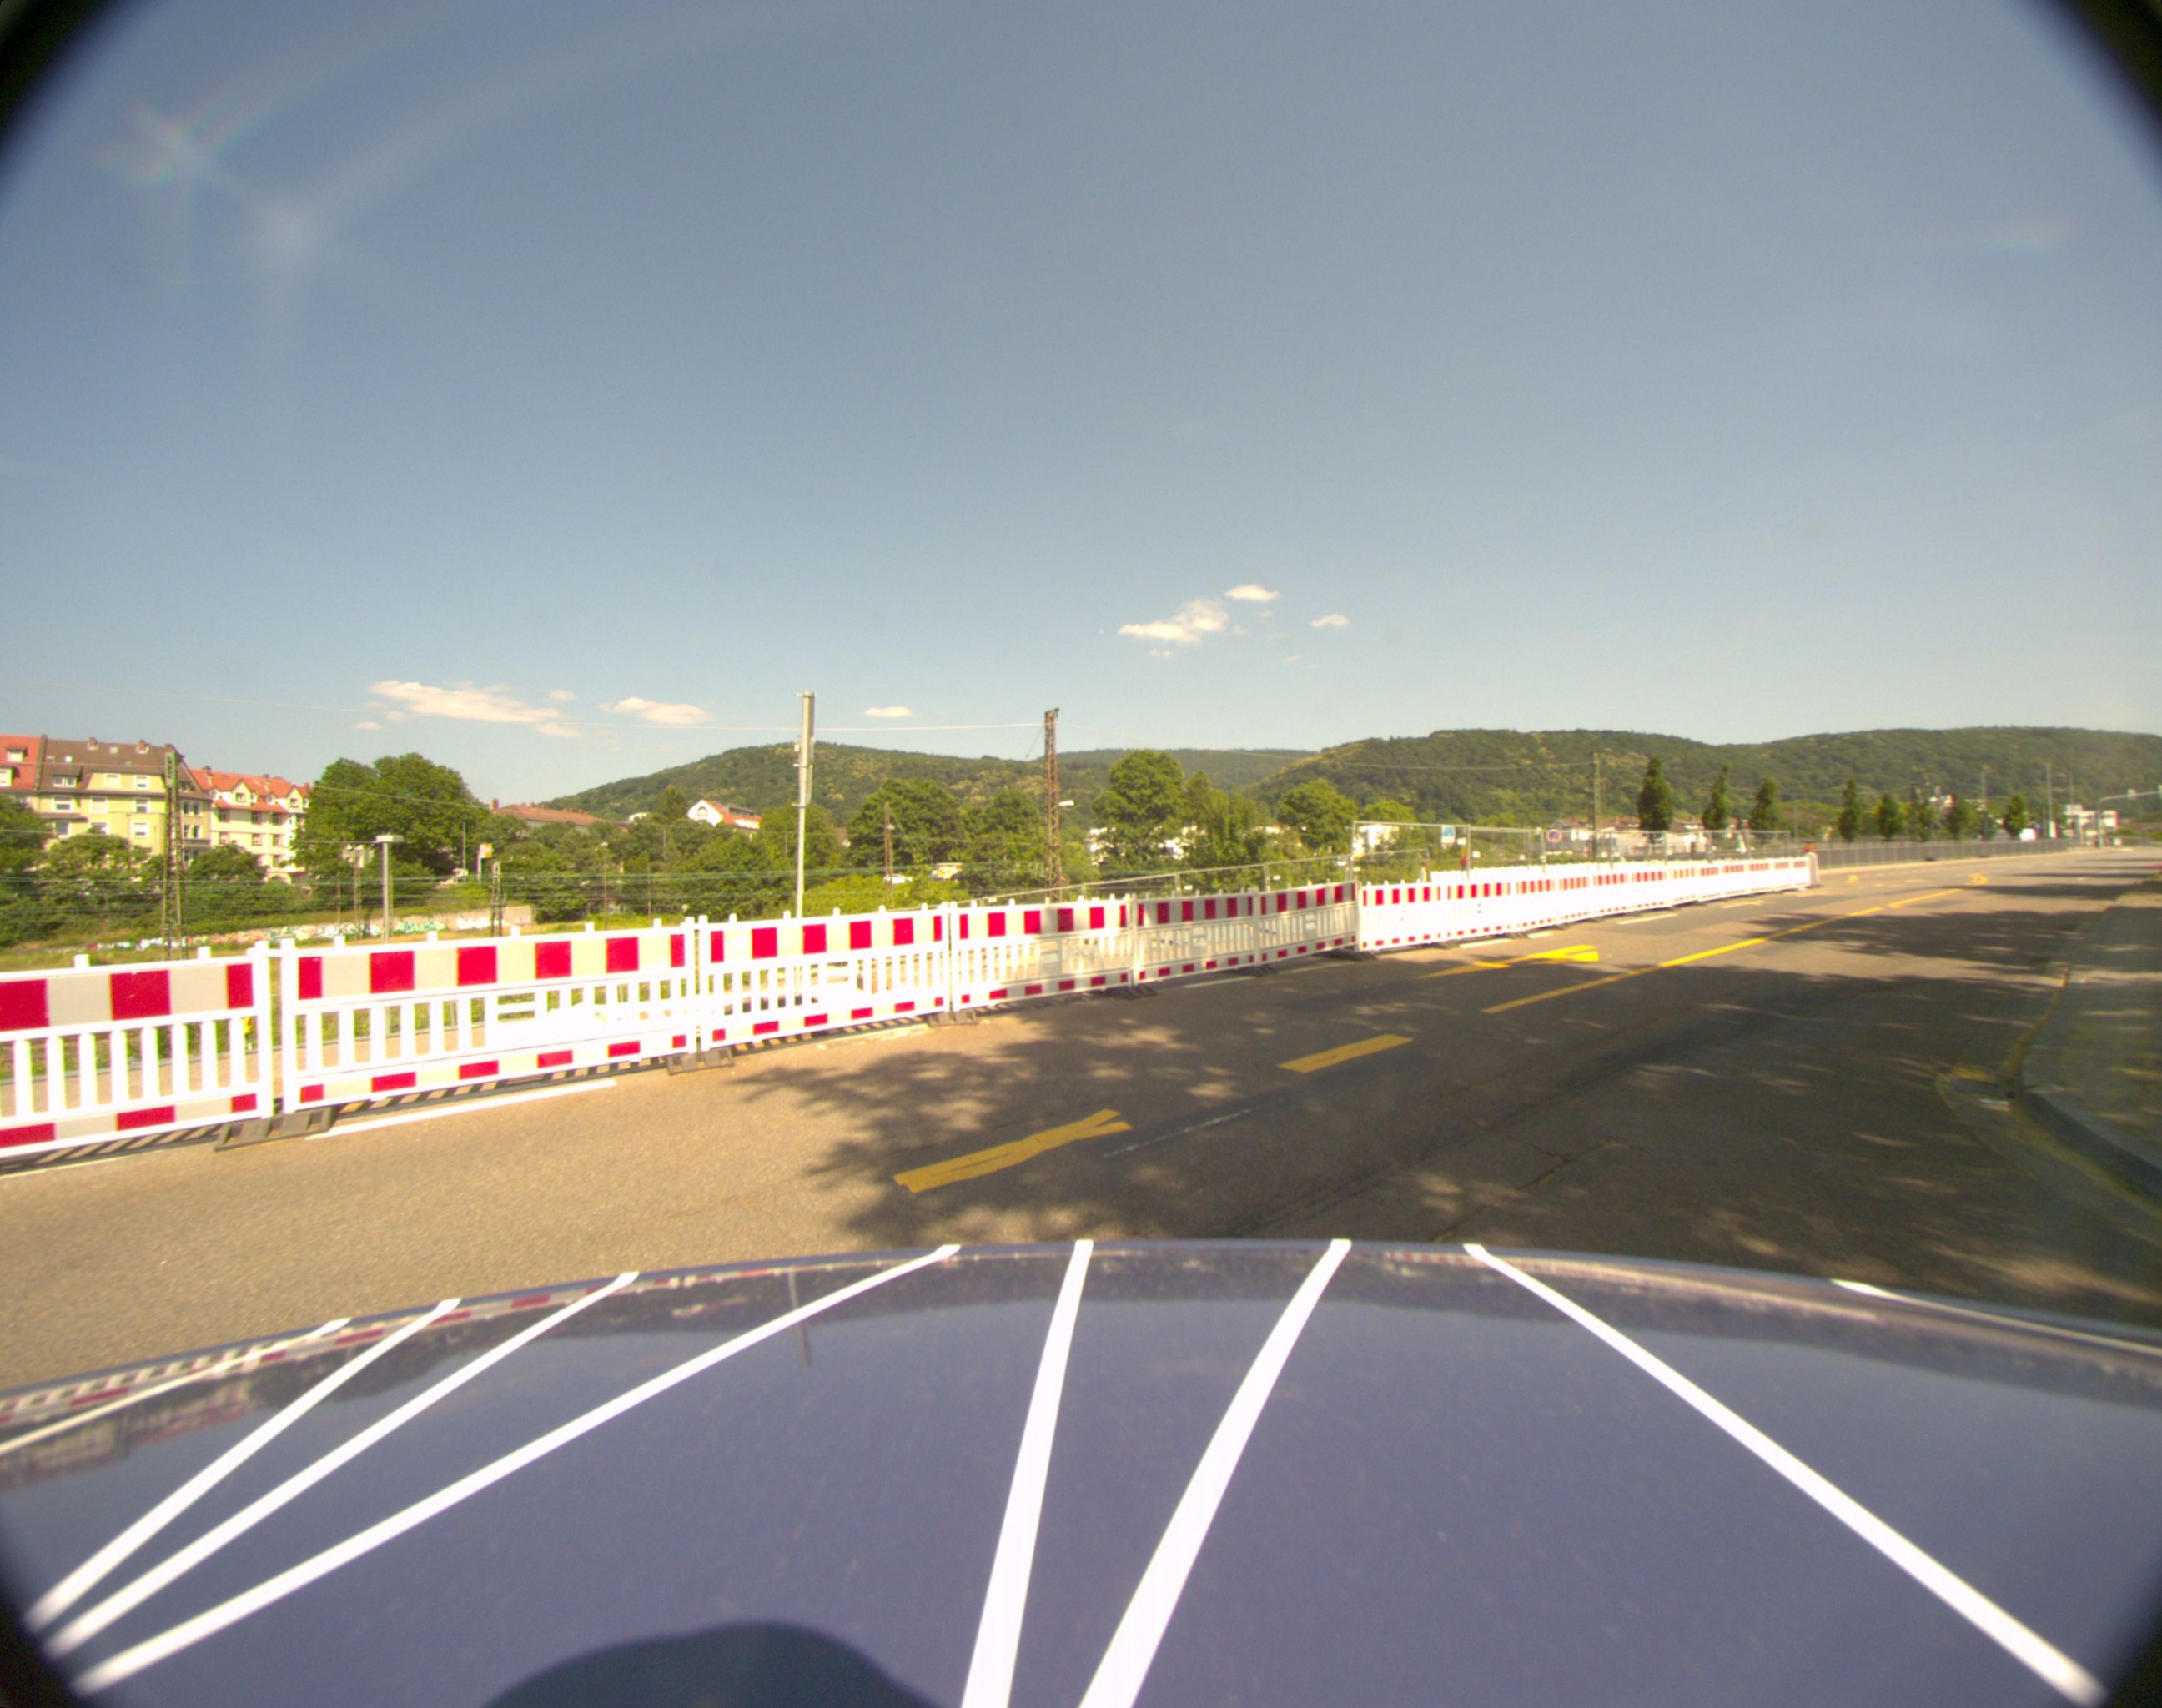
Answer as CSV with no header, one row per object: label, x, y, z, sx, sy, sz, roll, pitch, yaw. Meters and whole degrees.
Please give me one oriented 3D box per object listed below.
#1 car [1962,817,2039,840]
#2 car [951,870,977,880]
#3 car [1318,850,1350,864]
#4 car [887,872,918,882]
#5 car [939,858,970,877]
car,113.685,-3.087,94.070,2.312,2.330,5.627,-4,-2,-4
car,-17.816,3.194,115.650,3.842,1.359,1.782,-2,0,-6
car,47.505,0.571,142.731,5.523,2.088,2.134,-3,-5,-21
car,-27.046,3.527,115.252,4.313,1.359,1.865,-2,0,-2
car,-19.767,2.083,118.605,4.641,2.834,1.864,-2,0,-11
